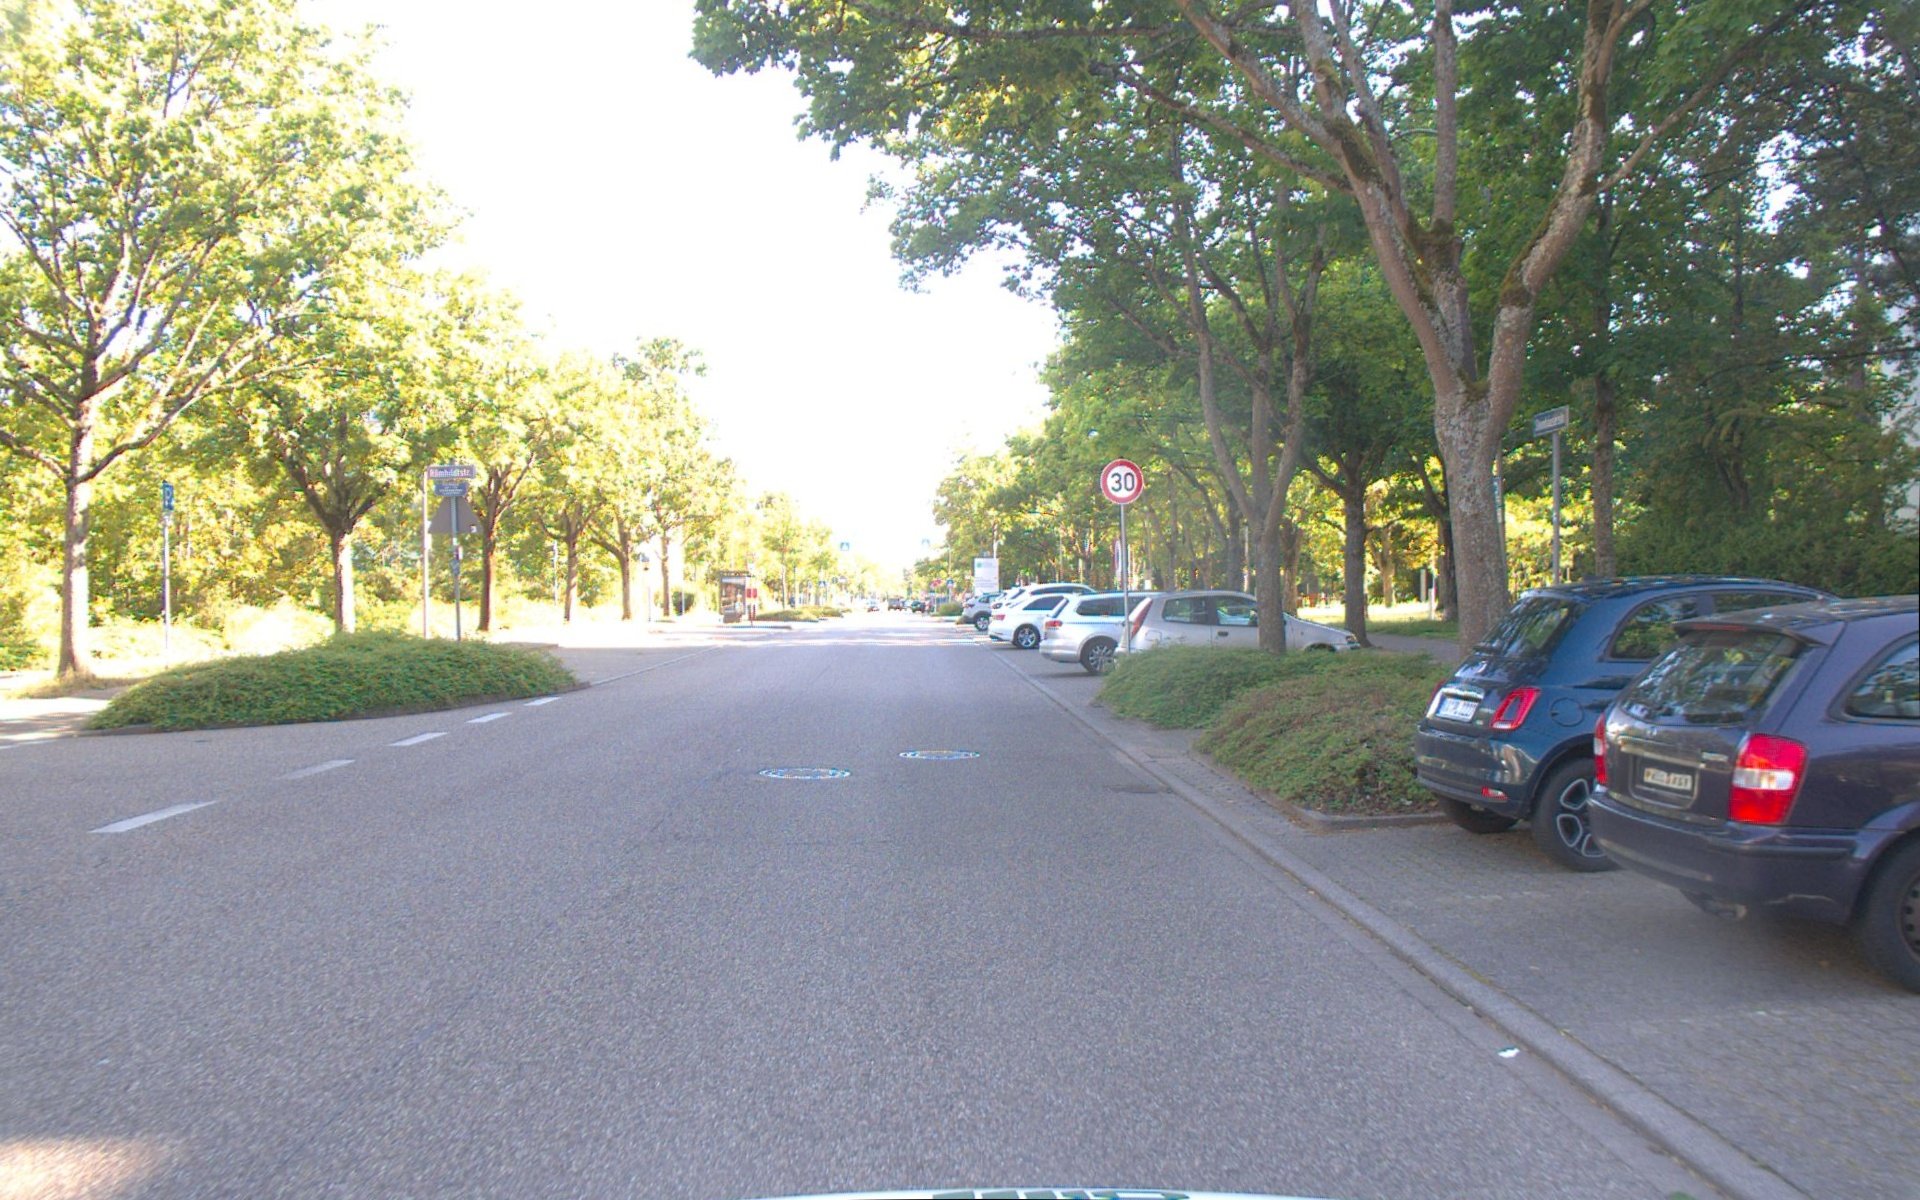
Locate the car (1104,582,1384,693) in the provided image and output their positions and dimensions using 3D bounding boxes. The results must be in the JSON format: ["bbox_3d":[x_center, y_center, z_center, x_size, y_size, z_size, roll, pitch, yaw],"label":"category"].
[{"bbox_3d":[4.255,0.542,25.186,3.907,1.476,1.716,-2,0,-2],"label":"car"}]

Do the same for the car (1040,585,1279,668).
[{"bbox_3d":[3.543,0.468,29.968,4.185,1.453,1.828,0,0,3],"label":"car"}]

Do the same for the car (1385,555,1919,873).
[{"bbox_3d":[4.592,0.555,9.572,3.735,1.525,1.699,-3,0,-5],"label":"car"}]

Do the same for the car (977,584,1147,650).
[{"bbox_3d":[2.676,0.438,43.875,4.257,1.515,1.737,-3,0,-4],"label":"car"}]

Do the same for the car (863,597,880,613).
[{"bbox_3d":[-10.077,0.590,188.443,1.791,1.806,3.738,0,0,-2],"label":"car"}]

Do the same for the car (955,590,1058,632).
[{"bbox_3d":[1.893,0.432,68.213,4.081,1.453,1.999,-3,0,-2],"label":"car"}]

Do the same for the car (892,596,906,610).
[{"bbox_3d":[-9.084,0.419,247.194,1.953,2.049,3.999,0,0,-2],"label":"car"}]

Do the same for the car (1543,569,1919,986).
[{"bbox_3d":[4.693,0.557,6.793,3.907,1.411,1.821,-3,0,-2],"label":"car"}]

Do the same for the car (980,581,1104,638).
[{"bbox_3d":[2.522,0.285,51.310,3.616,1.549,1.649,-3,1,-4],"label":"car"}]

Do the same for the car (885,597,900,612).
[{"bbox_3d":[-9.290,0.674,228.193,1.953,2.049,3.999,0,0,-2],"label":"car"}]

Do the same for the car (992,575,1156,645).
[{"bbox_3d":[3.171,0.262,46.588,4.348,1.676,1.815,-3,1,-4],"label":"car"}]

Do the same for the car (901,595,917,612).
[{"bbox_3d":[-6.380,0.438,207.243,1.953,2.049,3.999,0,0,-2],"label":"car"}]
